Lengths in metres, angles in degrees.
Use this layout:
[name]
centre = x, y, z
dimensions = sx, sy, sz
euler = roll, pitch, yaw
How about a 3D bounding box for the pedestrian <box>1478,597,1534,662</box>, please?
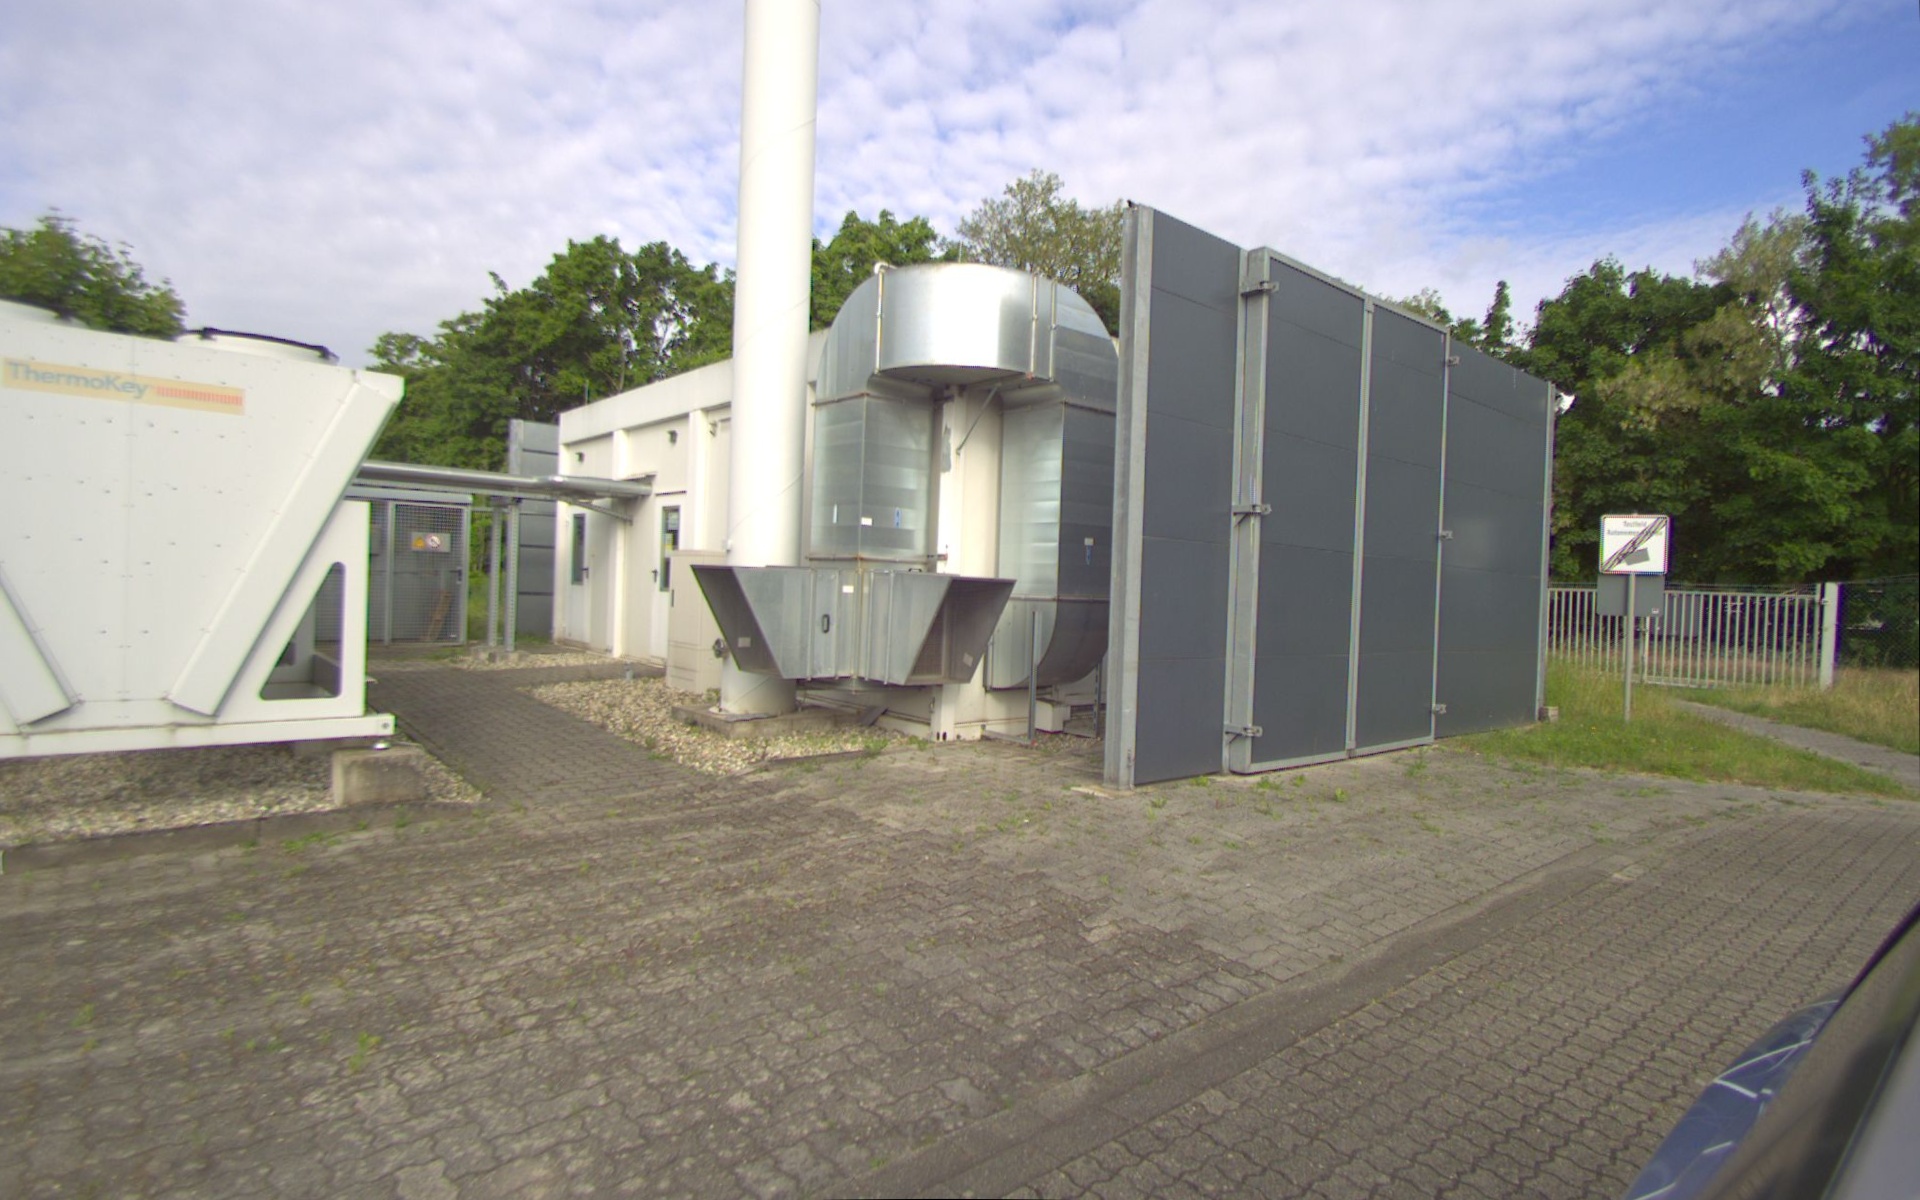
[pedestrian]
centre = 13.980, 0.746, 25.919
dimensions = 0.724, 1.594, 1.034
euler = 1, 1, -38
